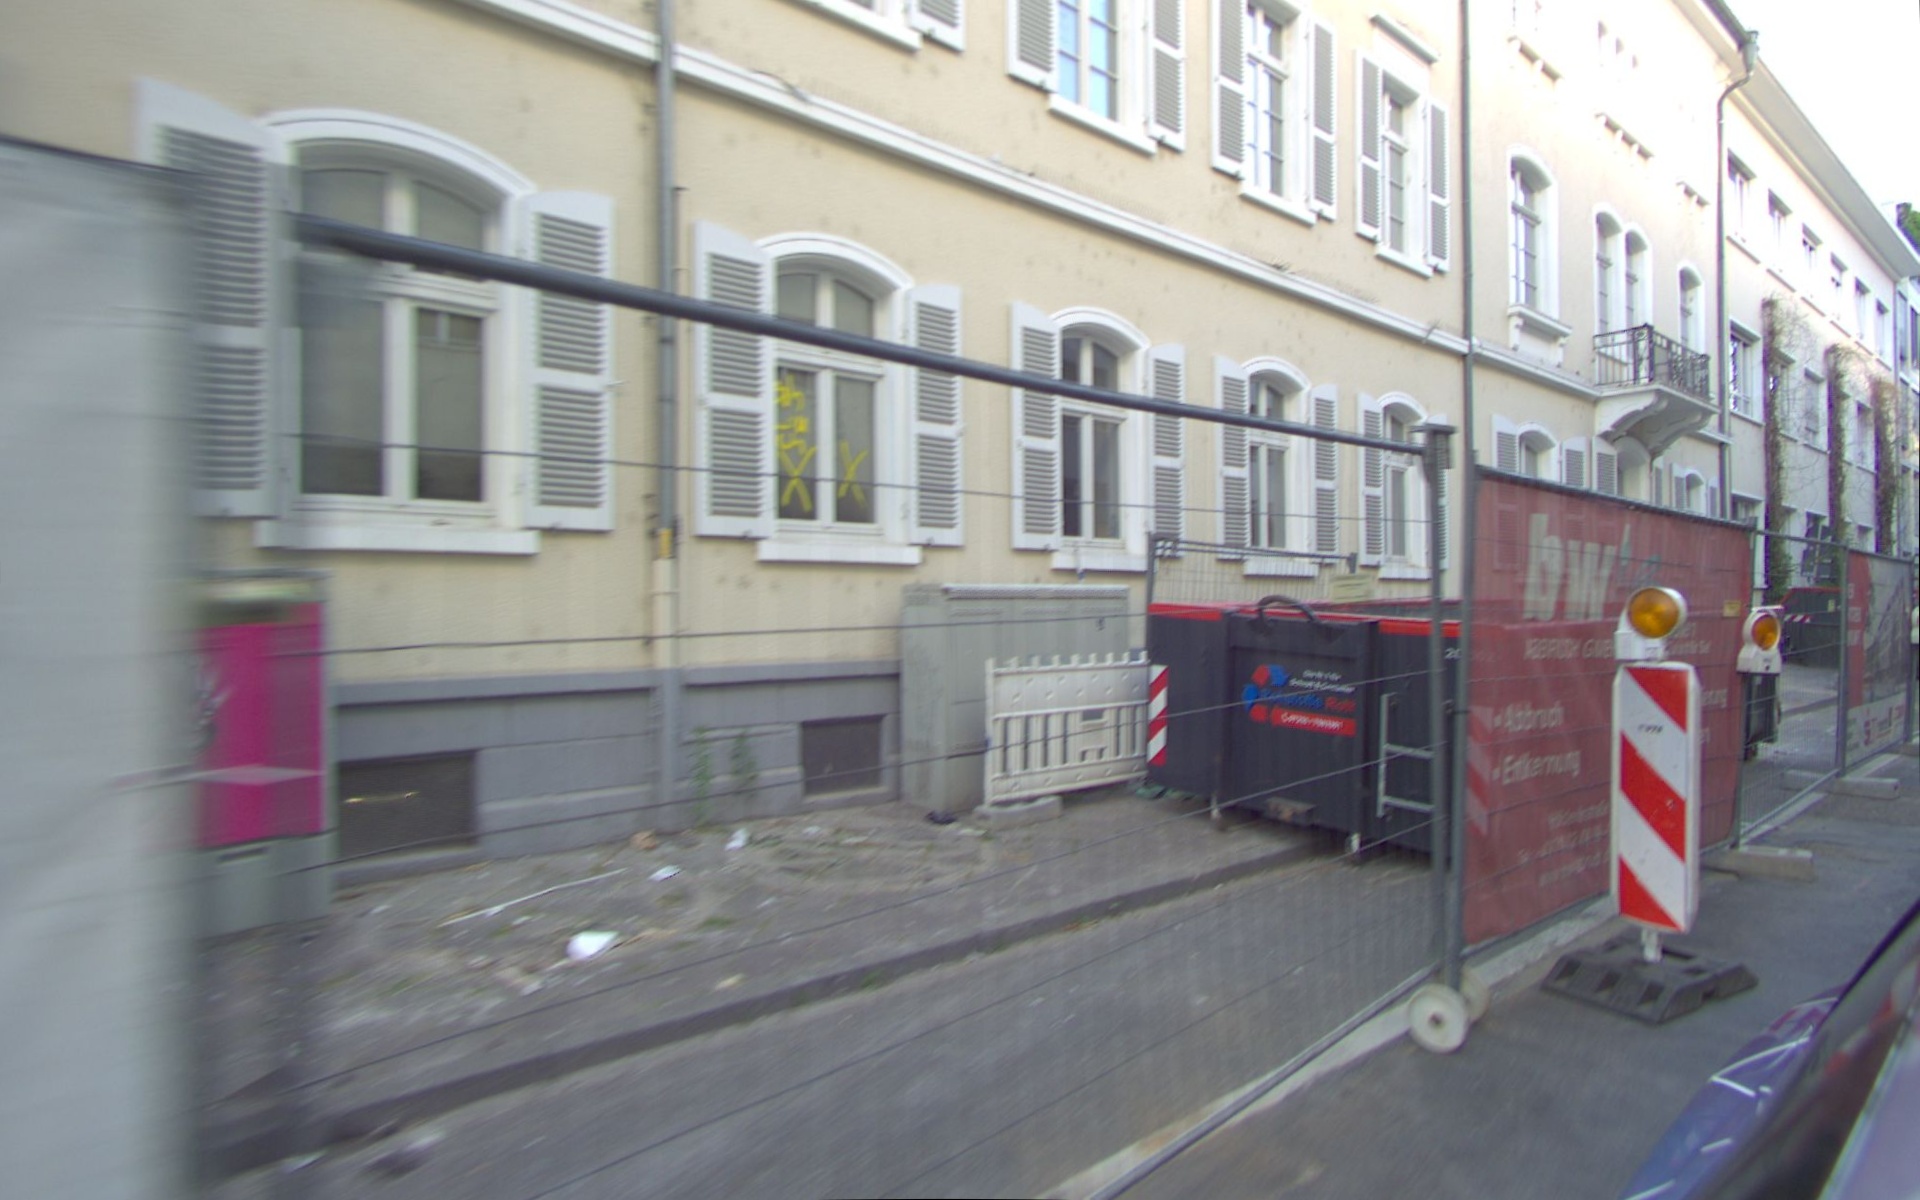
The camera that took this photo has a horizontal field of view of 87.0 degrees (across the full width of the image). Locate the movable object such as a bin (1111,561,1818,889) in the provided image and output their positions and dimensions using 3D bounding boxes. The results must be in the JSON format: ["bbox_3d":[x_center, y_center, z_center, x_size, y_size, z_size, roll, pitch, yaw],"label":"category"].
[{"bbox_3d":[4.751,0.649,8.661,7.165,1.686,2.896,0,0,-41],"label":"movable object such as a bin"}]
